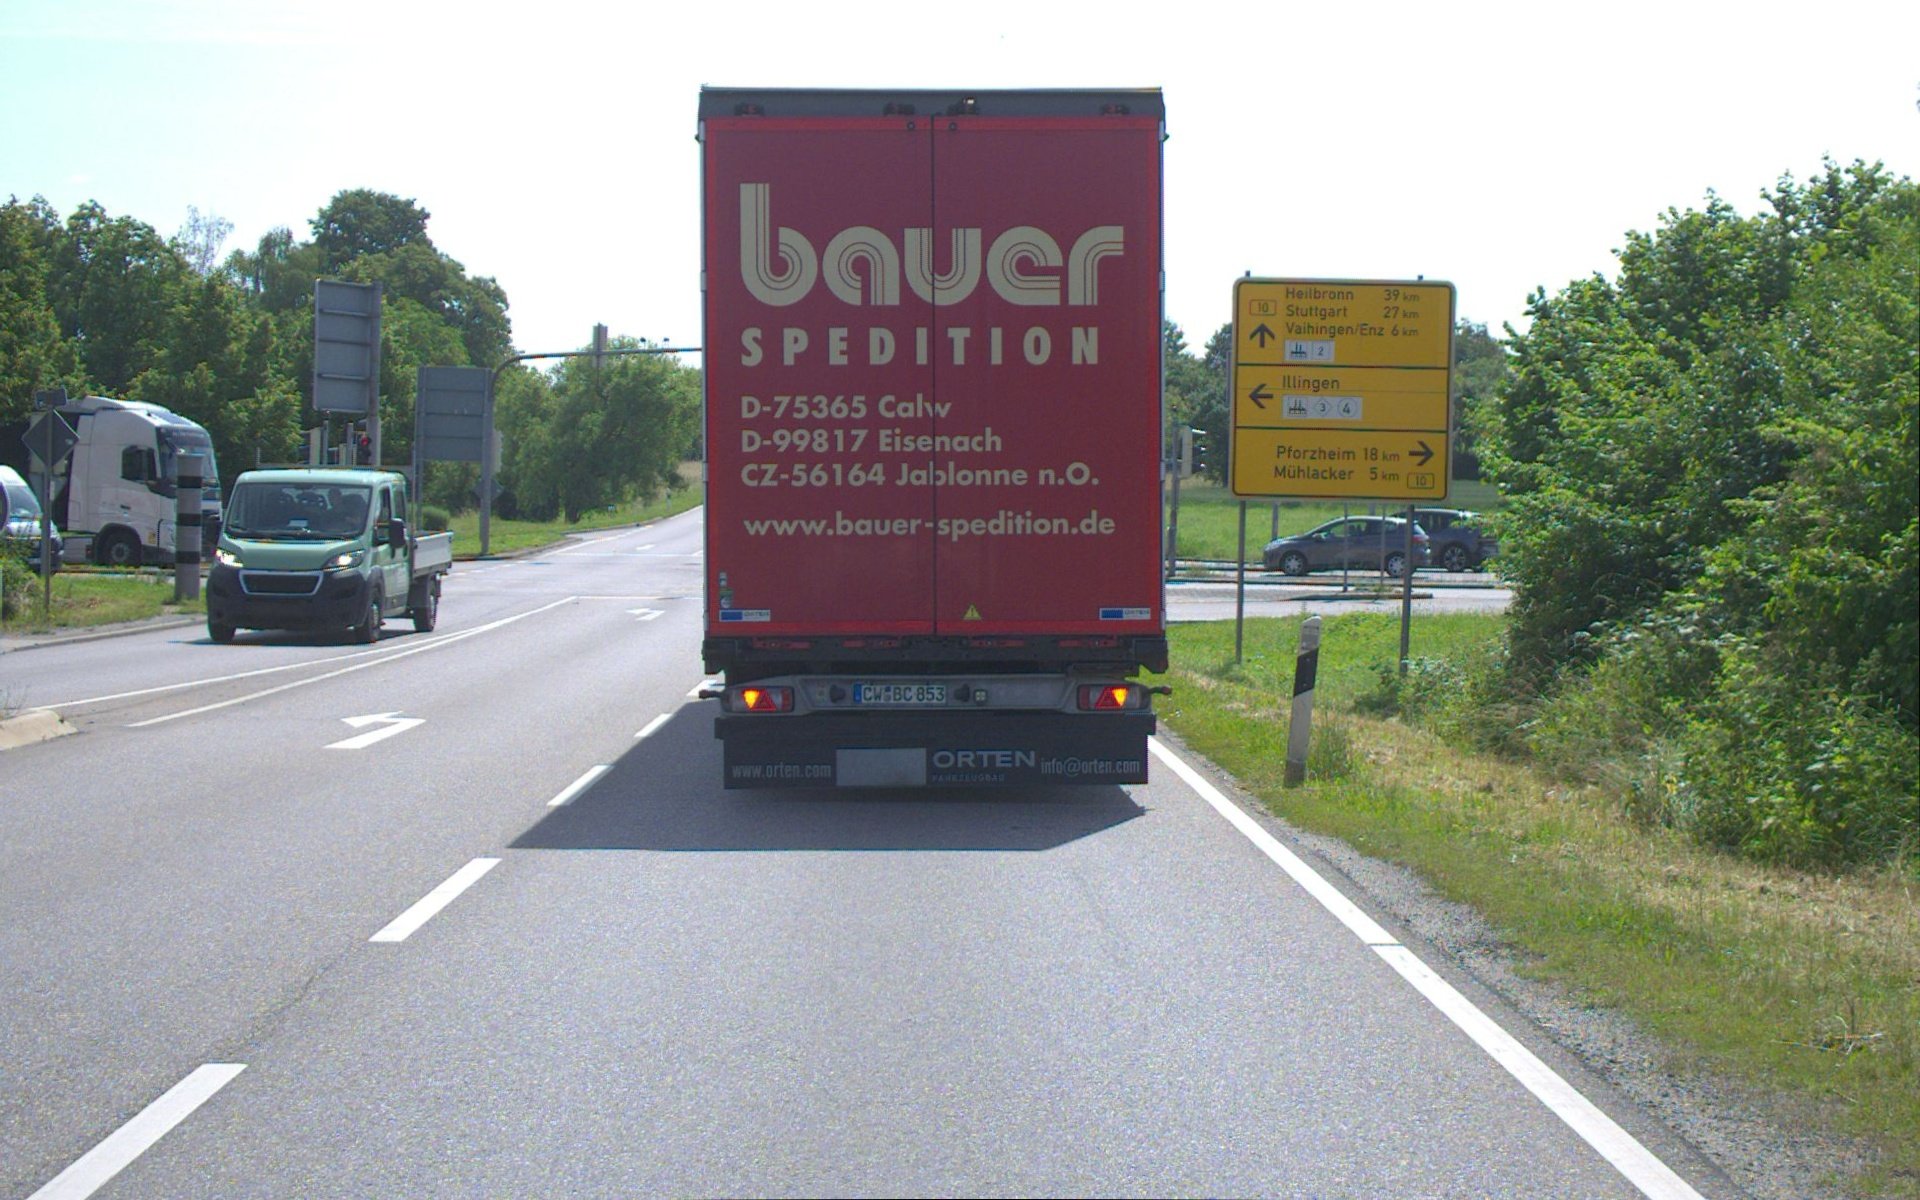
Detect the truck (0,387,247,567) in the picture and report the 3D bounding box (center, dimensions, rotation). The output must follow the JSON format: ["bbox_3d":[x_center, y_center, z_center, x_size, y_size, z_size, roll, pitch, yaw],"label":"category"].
[{"bbox_3d":[-19.841,-2.885,79.821,5.832,4.047,2.796,2,2,20],"label":"truck"}]

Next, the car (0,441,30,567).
[{"bbox_3d":[-22.741,-2.108,74.516,5.982,2.645,2.119,2,0,43],"label":"car"}]

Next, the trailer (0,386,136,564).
[{"bbox_3d":[-26.412,-3.069,81.979,13.696,4.047,2.796,2,2,18],"label":"trailer"}]

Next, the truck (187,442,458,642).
[{"bbox_3d":[-8.206,-0.772,44.937,2.242,2.367,6.350,2,1,1],"label":"truck"}]

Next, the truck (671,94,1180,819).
[{"bbox_3d":[-0.411,-1.016,26.994,2.734,3.911,16.628,0,2,-2],"label":"truck"}]

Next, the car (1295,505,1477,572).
[{"bbox_3d":[10.846,-1.563,87.575,4.280,1.650,1.697,1,1,29],"label":"car"}]

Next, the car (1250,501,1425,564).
[{"bbox_3d":[9.124,-1.629,82.988,3.989,1.424,1.999,1,1,13],"label":"car"}]
